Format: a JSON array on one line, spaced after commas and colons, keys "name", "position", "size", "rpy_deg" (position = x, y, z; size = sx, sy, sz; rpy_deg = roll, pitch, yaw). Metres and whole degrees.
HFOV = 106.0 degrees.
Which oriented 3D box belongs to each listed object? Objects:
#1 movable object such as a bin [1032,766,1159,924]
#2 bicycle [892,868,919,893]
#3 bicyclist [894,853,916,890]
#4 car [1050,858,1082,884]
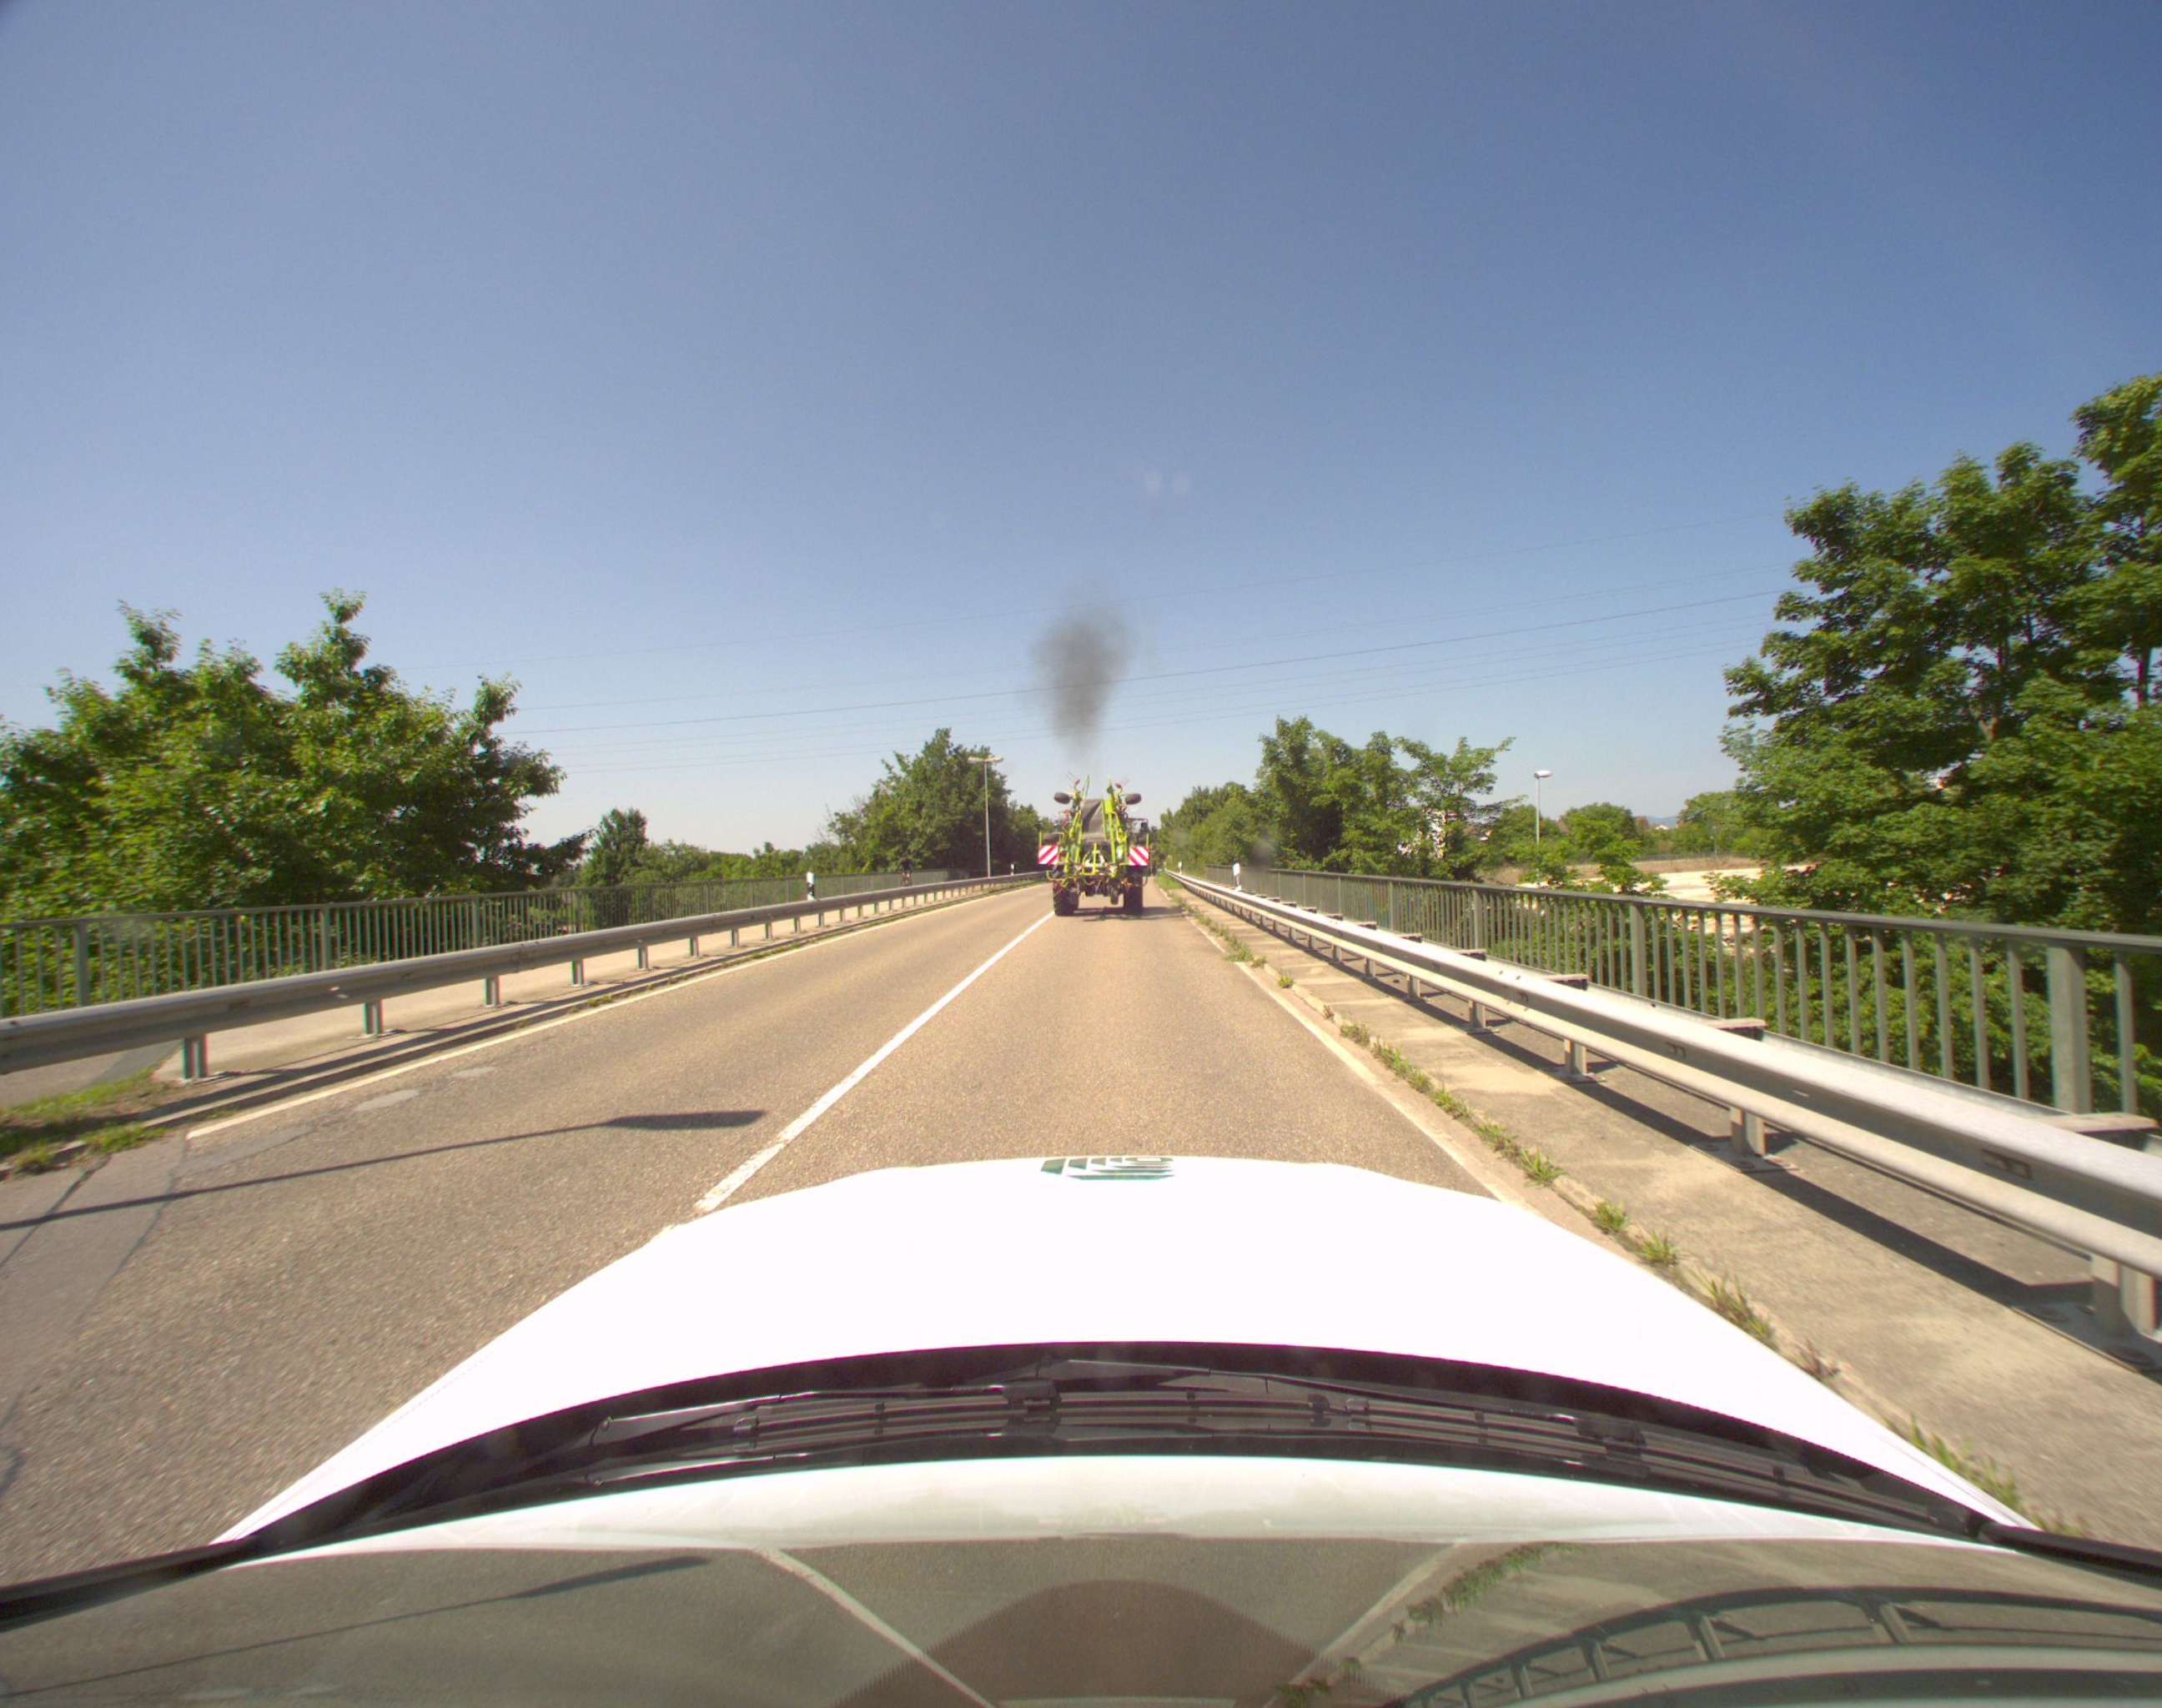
[{"name": "movable object such as a bin", "position": [0.396, -0.218, 20.855], "size": [2.745, 3.444, 5.671], "rpy_deg": [-1, 0, 1]}, {"name": "bicycle", "position": [-7.929, 1.173, 36.867], "size": [0.675, 1.001, 2.119], "rpy_deg": [-2, 0, 1]}, {"name": "bicyclist", "position": [-7.940, 0.802, 36.852], "size": [0.762, 1.633, 0.895], "rpy_deg": [-1, 0, 0]}, {"name": "car", "position": [-0.873, 1.014, 50.519], "size": [1.660, 1.517, 3.668], "rpy_deg": [-2, -1, 3]}]
